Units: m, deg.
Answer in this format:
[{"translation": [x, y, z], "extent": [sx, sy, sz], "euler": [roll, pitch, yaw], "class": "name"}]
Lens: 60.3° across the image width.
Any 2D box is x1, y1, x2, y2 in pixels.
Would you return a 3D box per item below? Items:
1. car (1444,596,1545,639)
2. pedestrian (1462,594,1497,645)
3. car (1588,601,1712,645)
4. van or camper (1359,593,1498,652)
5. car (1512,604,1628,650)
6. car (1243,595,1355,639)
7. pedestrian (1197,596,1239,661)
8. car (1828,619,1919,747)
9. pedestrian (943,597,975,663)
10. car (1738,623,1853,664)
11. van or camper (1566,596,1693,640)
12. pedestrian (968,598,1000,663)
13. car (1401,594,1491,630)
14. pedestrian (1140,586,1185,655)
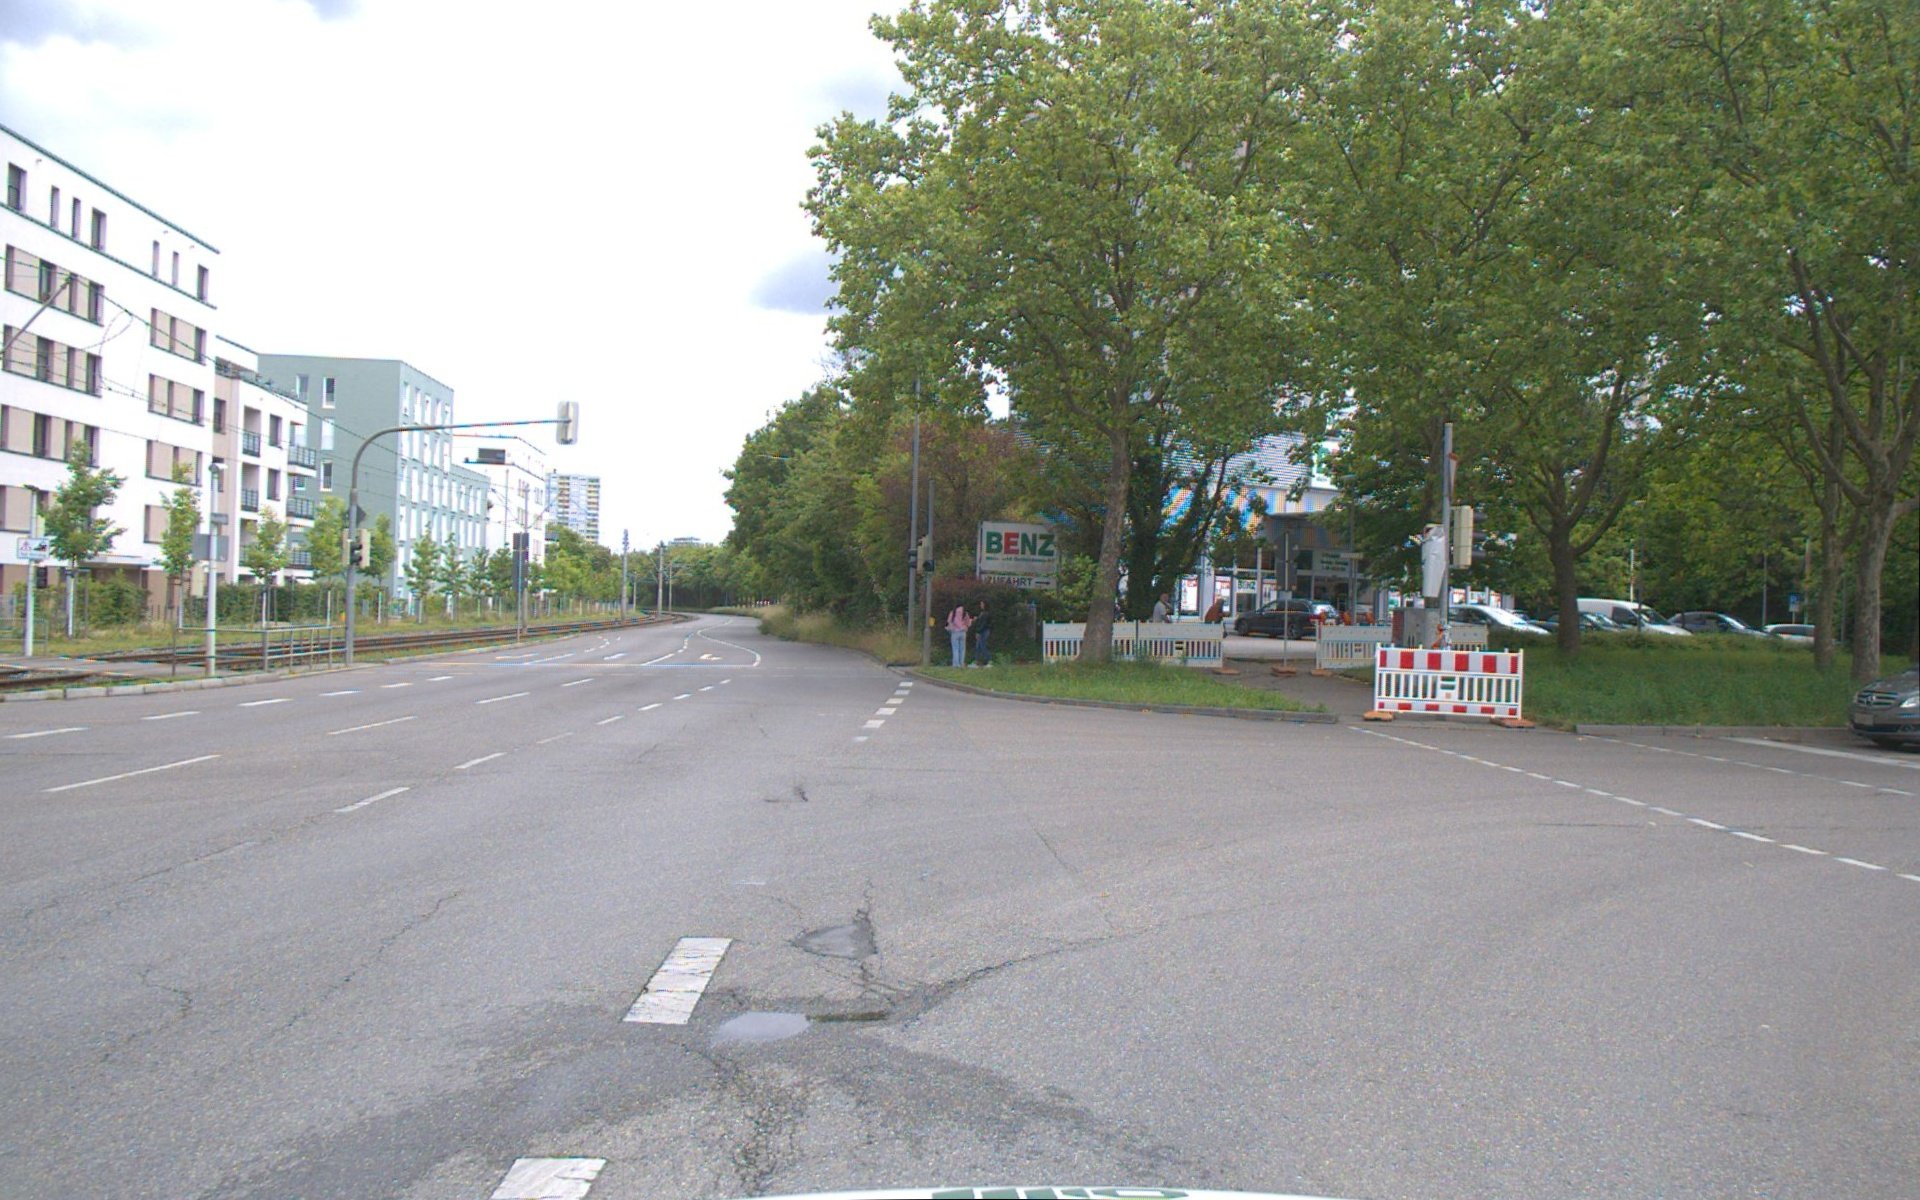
[{"translation": [22.129, 0.709, 68.574], "extent": [1.652, 1.663, 3.779], "euler": [2, 0, -32], "class": "car"}, {"translation": [16.687, 0.626, 53.159], "extent": [0.779, 1.614, 0.797], "euler": [1, -1, -11], "class": "pedestrian"}, {"translation": [23.992, 0.800, 57.635], "extent": [1.466, 1.491, 3.847], "euler": [2, -1, -33], "class": "car"}, {"translation": [14.183, 0.667, 50.266], "extent": [1.820, 1.713, 3.960], "euler": [1, 0, -30], "class": "van or camper"}, {"translation": [19.684, 0.861, 53.481], "extent": [1.465, 1.429, 3.371], "euler": [2, -1, -32], "class": "car"}, {"translation": [12.397, 0.630, 60.701], "extent": [1.709, 1.526, 4.228], "euler": [2, -1, -29], "class": "car"}, {"translation": [6.364, 0.701, 40.781], "extent": [0.649, 1.566, 0.761], "euler": [2, -2, -40], "class": "pedestrian"}, {"translation": [14.048, 1.103, 21.814], "extent": [4.308, 1.614, 1.772], "euler": [1, -1, -2], "class": "car"}, {"translation": [-0.027, 0.702, 38.381], "extent": [0.683, 1.515, 0.687], "euler": [1, -1, -4], "class": "pedestrian"}, {"translation": [32.412, 1.676, 64.220], "extent": [1.709, 1.526, 3.709], "euler": [2, -1, -29], "class": "car"}, {"translation": [22.353, 0.599, 55.329], "extent": [1.500, 1.380, 3.728], "euler": [2, -1, -35], "class": "van or camper"}, {"translation": [0.563, 0.730, 39.191], "extent": [0.683, 1.515, 0.720], "euler": [1, -1, -3], "class": "pedestrian"}, {"translation": [19.603, 0.490, 66.788], "extent": [1.466, 1.429, 3.369], "euler": [2, -1, -33], "class": "car"}, {"translation": [4.842, 0.498, 39.472], "extent": [0.779, 1.614, 0.849], "euler": [0, -2, 32], "class": "pedestrian"}]
